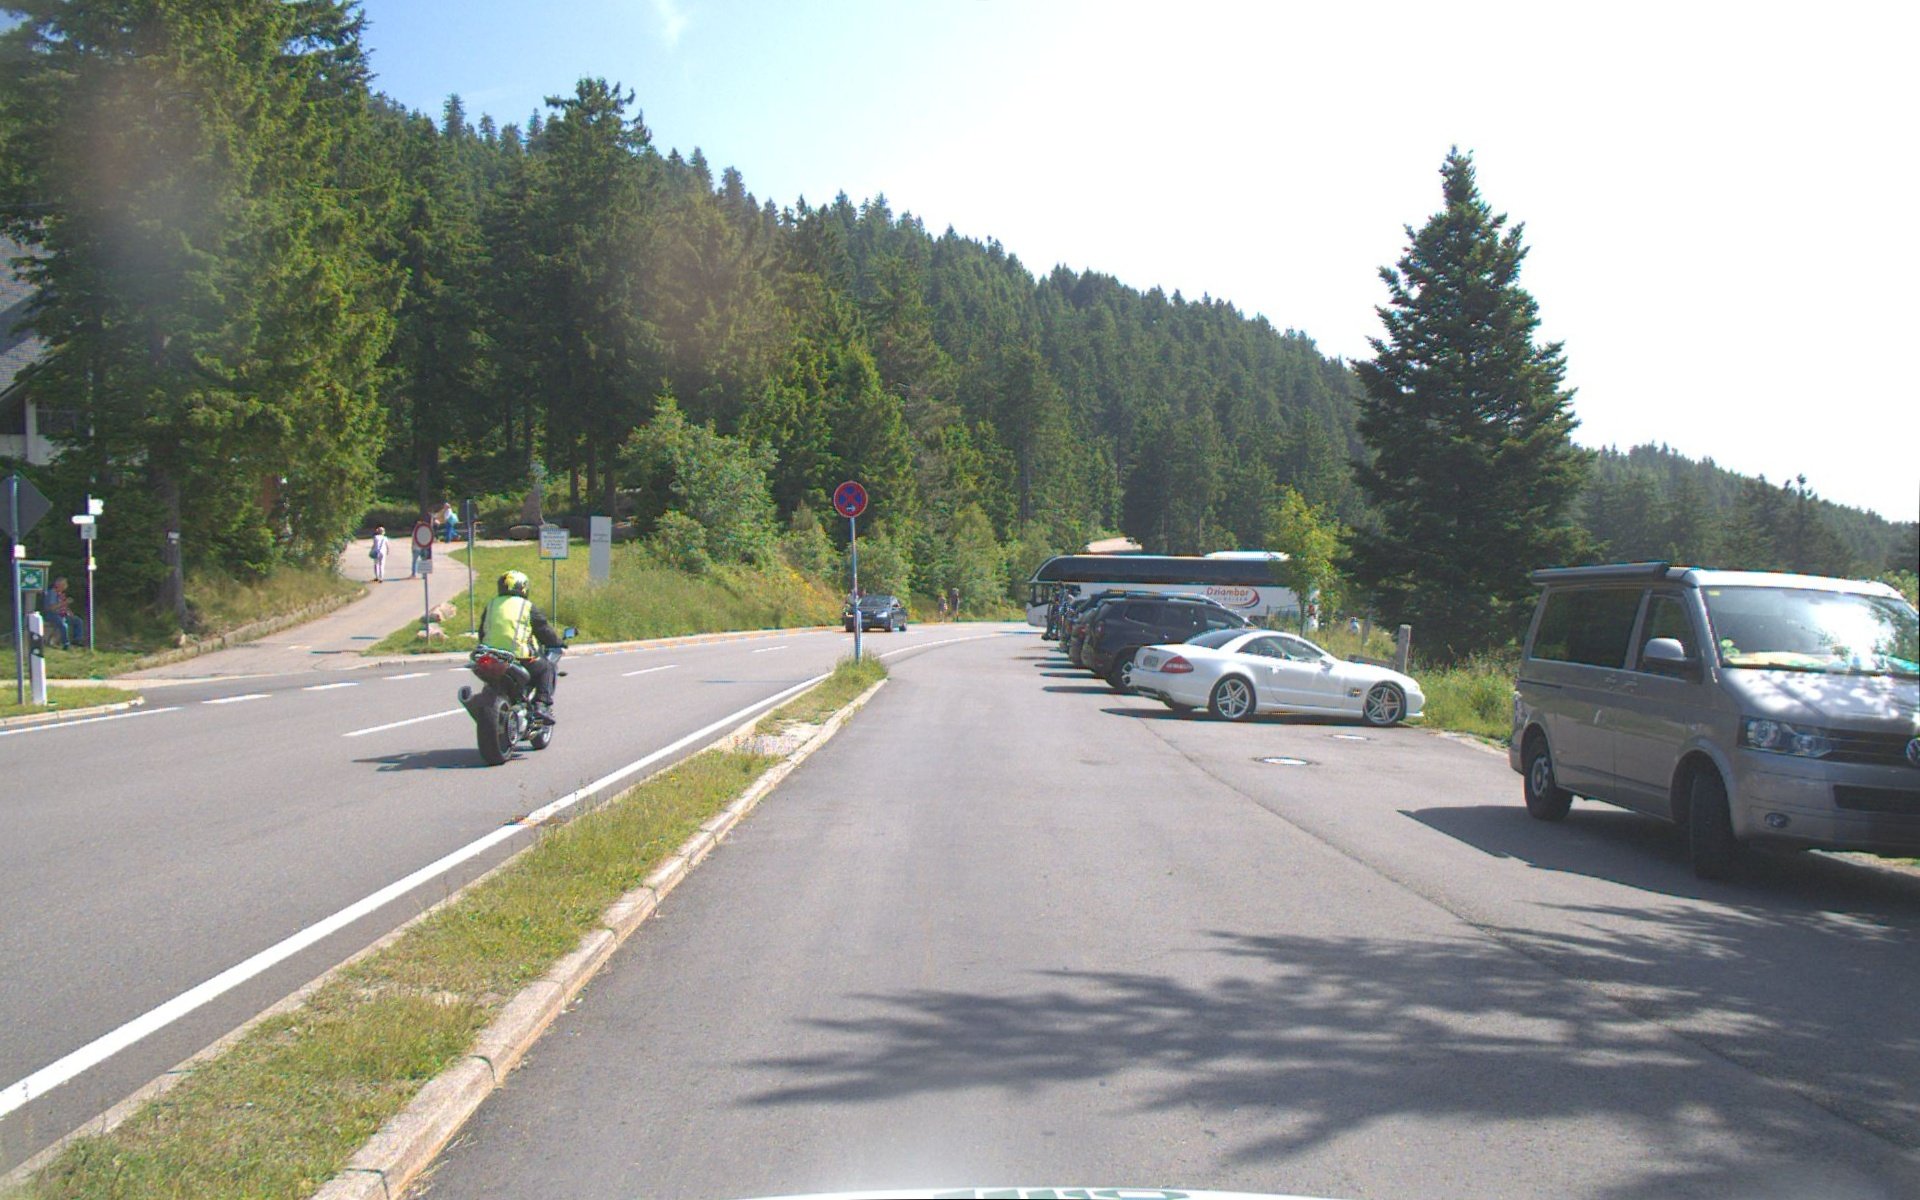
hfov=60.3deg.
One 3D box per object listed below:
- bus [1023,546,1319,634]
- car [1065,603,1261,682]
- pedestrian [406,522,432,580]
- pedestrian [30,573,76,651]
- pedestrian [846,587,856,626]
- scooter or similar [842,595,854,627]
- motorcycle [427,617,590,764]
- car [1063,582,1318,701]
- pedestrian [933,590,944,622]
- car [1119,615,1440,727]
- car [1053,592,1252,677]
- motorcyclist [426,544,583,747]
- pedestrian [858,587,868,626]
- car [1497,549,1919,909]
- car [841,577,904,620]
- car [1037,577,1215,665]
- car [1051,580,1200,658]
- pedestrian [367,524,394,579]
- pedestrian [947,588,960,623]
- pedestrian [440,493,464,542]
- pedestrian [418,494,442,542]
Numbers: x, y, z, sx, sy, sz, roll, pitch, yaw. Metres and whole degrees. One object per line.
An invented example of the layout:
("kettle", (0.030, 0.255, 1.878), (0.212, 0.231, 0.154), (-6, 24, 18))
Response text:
("bus", (9.248, -0.501, 72.545), (12.587, 3.640, 2.985), (0, 3, 15))
("car", (3.944, 0.825, 32.475), (3.563, 1.326, 1.641), (2, 2, -3))
("pedestrian", (-17.395, -1.586, 53.217), (0.640, 1.830, 0.642), (-1, -1, -8))
("pedestrian", (-18.517, 0.242, 33.765), (0.565, 1.559, 0.552), (-2, 2, -2))
("pedestrian", (-5.056, 0.286, 76.798), (0.406, 1.777, 0.457), (-2, 2, -2))
("scooter or similar", (-5.149, 0.493, 76.150), (0.473, 1.403, 0.817), (-2, 2, -2))
("motorcycle", (-3.956, 0.758, 14.693), (0.805, 1.197, 2.286), (0, -1, 0))
("car", (3.957, 0.697, 28.775), (3.914, 1.728, 1.996), (4, 1, -9))
("pedestrian", (-1.270, 0.369, 99.147), (0.610, 1.933, 0.654), (-2, -1, -2))
("car", (4.690, 1.038, 24.312), (4.384, 1.321, 1.574), (4, 0, -18))
("car", (4.050, 0.708, 35.283), (3.907, 1.478, 2.000), (3, 2, -3))
("motorcyclist", (-3.974, 0.396, 14.543), (1.004, 1.704, 1.293), (0, -1, 0))
("pedestrian", (-4.487, 0.285, 76.364), (0.387, 1.777, 0.406), (-2, 2, -2))
("car", (5.627, 0.749, 11.867), (1.866, 2.006, 4.819), (3, 0, 0))
("car", (-3.530, -0.089, 67.197), (1.951, 1.691, 4.003), (-1, 1, 5))
("car", (3.866, 0.478, 39.090), (3.907, 1.749, 1.867), (3, 2, -2))
("car", (4.579, 0.497, 46.135), (3.905, 1.845, 1.940), (3, 2, 1))
("pedestrian", (-18.324, -1.518, 52.321), (0.640, 1.696, 0.642), (-1, -1, -8))
("pedestrian", (-0.373, 0.329, 98.131), (0.718, 2.049, 0.862), (-2, -1, -2))
("pedestrian", (-21.602, -3.504, 70.352), (0.800, 2.048, 0.851), (-2, 2, -10))
("pedestrian", (-22.796, -3.522, 71.133), (0.783, 2.048, 0.938), (-2, 2, -10))
